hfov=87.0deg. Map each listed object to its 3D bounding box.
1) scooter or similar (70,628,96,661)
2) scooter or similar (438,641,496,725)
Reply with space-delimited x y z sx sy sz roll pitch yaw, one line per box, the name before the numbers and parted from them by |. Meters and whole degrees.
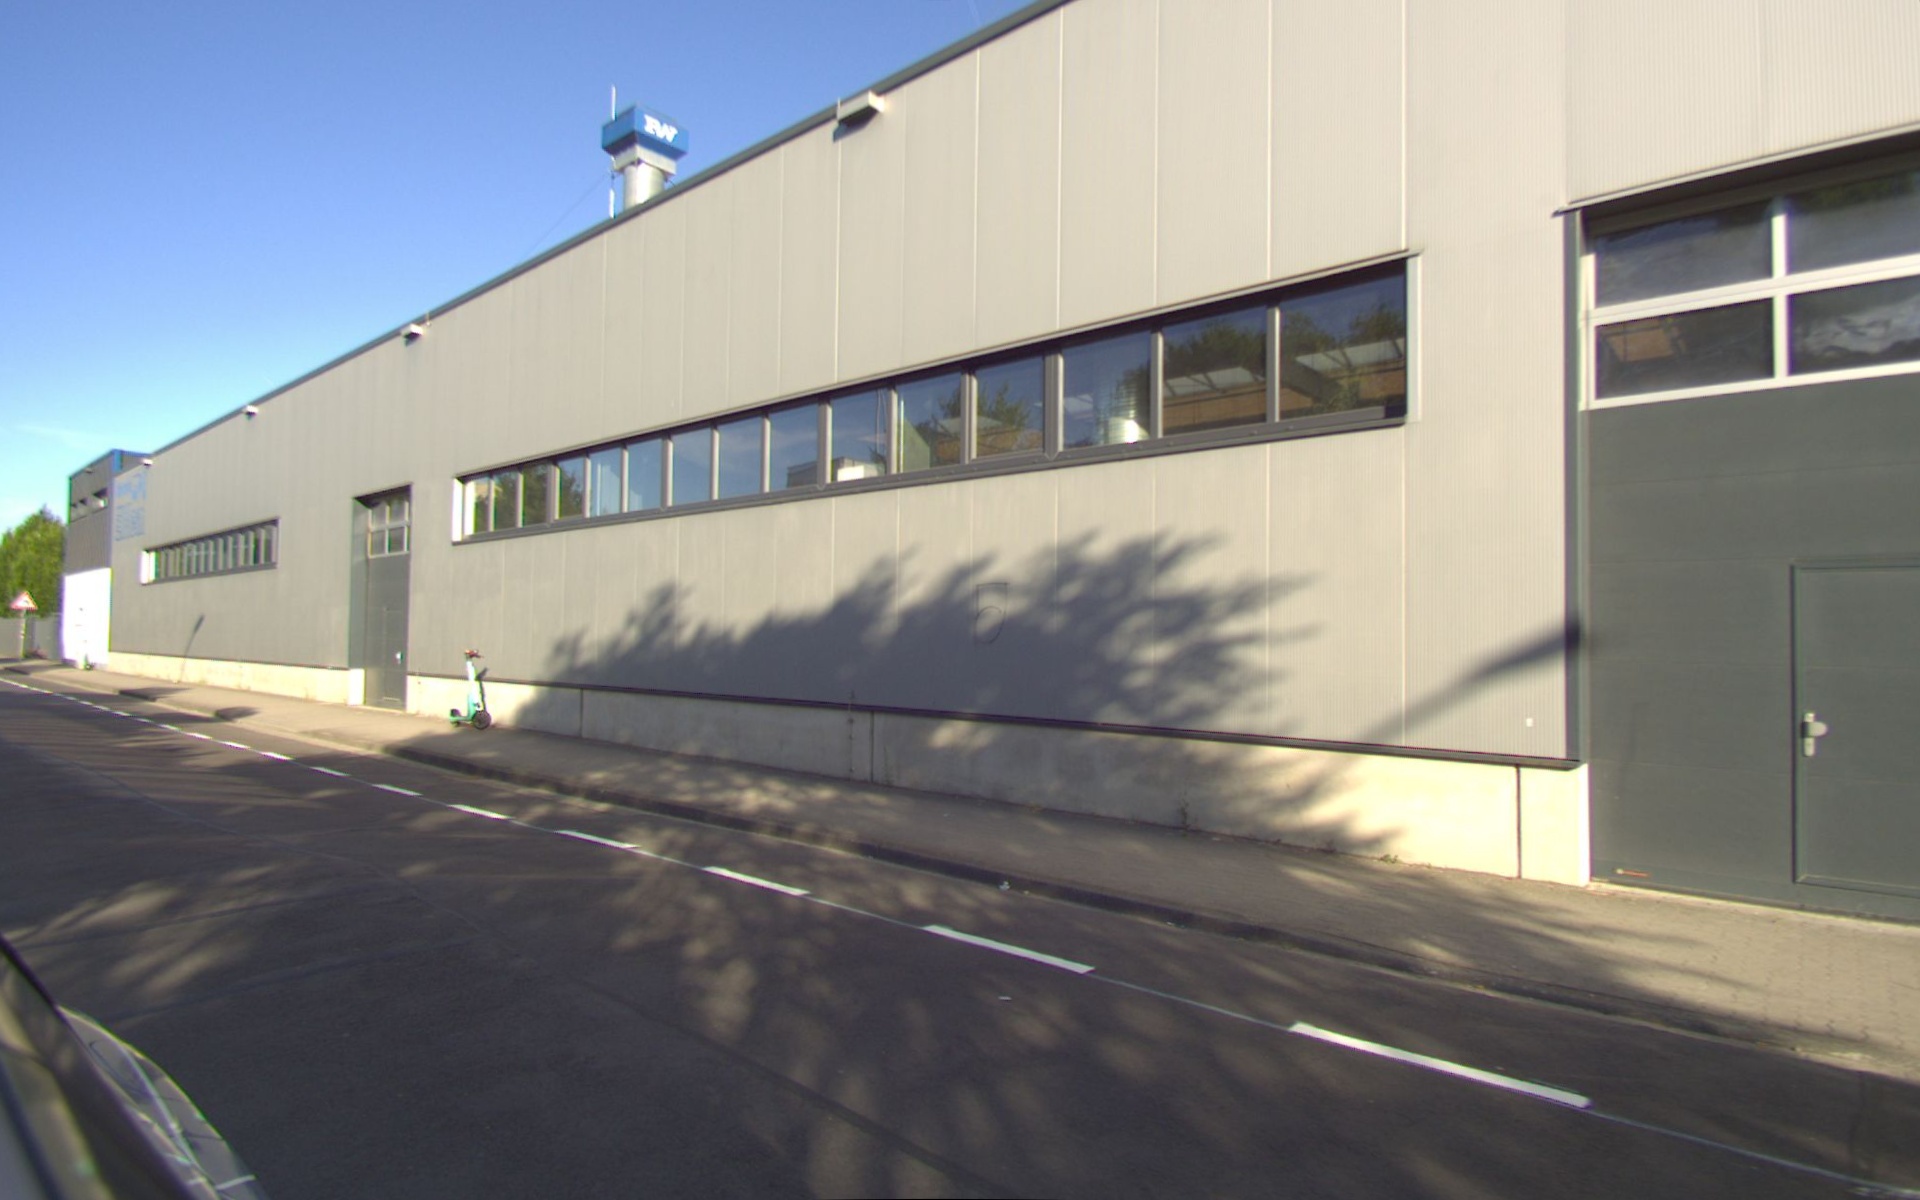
scooter or similar | -33.621 1.679 38.780 1.753 1.212 0.501 -1 0 42
scooter or similar | -7.750 1.283 15.903 1.059 1.277 0.412 -2 -3 41
